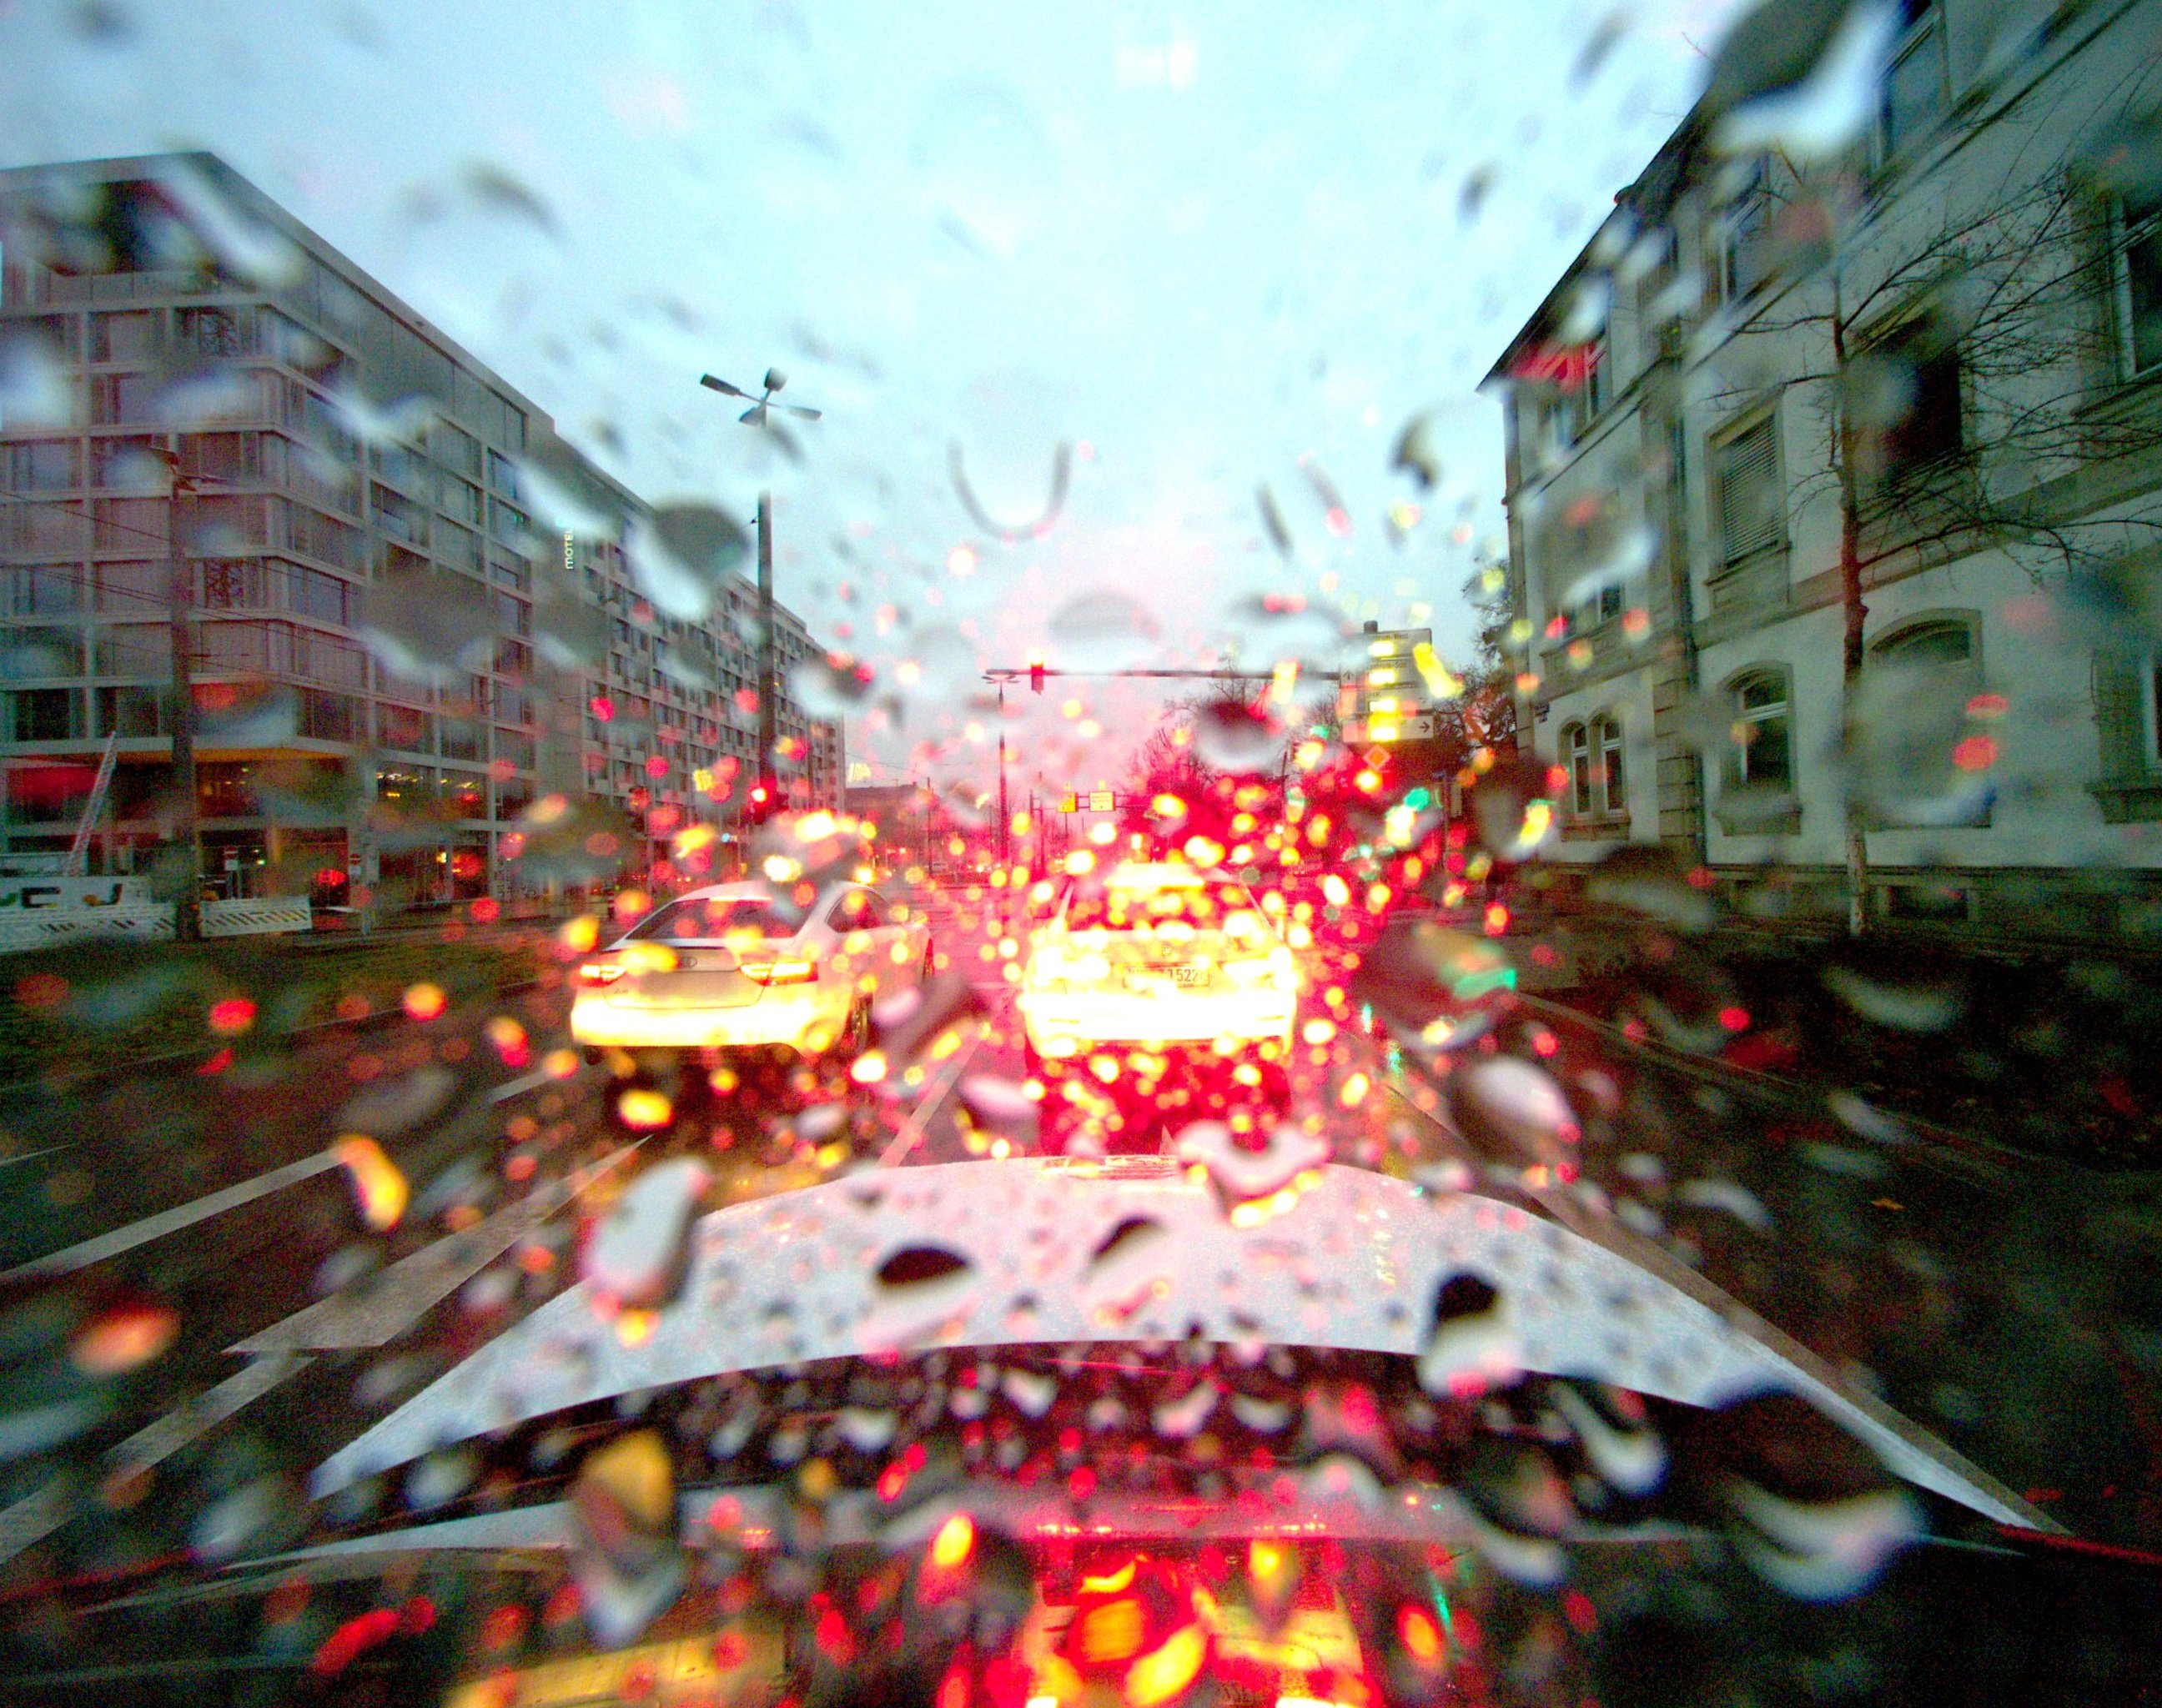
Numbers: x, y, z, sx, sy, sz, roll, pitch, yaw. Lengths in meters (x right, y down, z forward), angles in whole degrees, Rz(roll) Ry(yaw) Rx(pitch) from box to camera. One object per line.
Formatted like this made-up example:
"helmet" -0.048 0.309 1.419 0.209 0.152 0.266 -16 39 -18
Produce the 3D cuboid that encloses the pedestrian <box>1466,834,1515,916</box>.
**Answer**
"pedestrian" 8.143 0.408 16.232 0.775 1.579 1.016 -1 -1 21

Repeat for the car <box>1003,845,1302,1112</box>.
"car" 0.415 0.746 6.923 1.754 1.552 4.250 0 -1 0

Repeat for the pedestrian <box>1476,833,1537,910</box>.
"pedestrian" 9.254 0.380 17.757 0.779 1.632 1.010 0 -1 -2

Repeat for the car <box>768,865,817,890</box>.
"car" -21.743 1.749 61.633 1.874 1.789 4.601 0 -1 3

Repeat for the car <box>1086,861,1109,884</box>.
"car" 1.503 1.622 73.630 1.986 2.014 4.001 0 -1 2

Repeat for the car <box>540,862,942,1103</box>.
"car" -2.461 0.811 7.163 1.754 1.470 4.250 0 -1 0

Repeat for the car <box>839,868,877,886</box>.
"car" -19.462 1.947 71.377 1.988 1.462 5.092 0 -1 -1

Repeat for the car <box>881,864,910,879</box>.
"car" -18.939 1.724 83.394 1.988 1.462 5.090 0 -1 -2

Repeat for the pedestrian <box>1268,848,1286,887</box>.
"pedestrian" 9.563 0.674 39.788 0.671 1.879 0.715 0 -1 -1

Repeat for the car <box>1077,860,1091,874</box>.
"car" 0.451 1.898 118.590 1.986 2.014 4.001 0 -1 2

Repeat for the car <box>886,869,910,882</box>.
"car" -23.138 2.695 103.152 1.987 1.462 5.094 0 -1 0

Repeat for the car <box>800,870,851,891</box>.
"car" -18.727 1.912 59.985 1.986 1.462 5.097 0 -1 2
